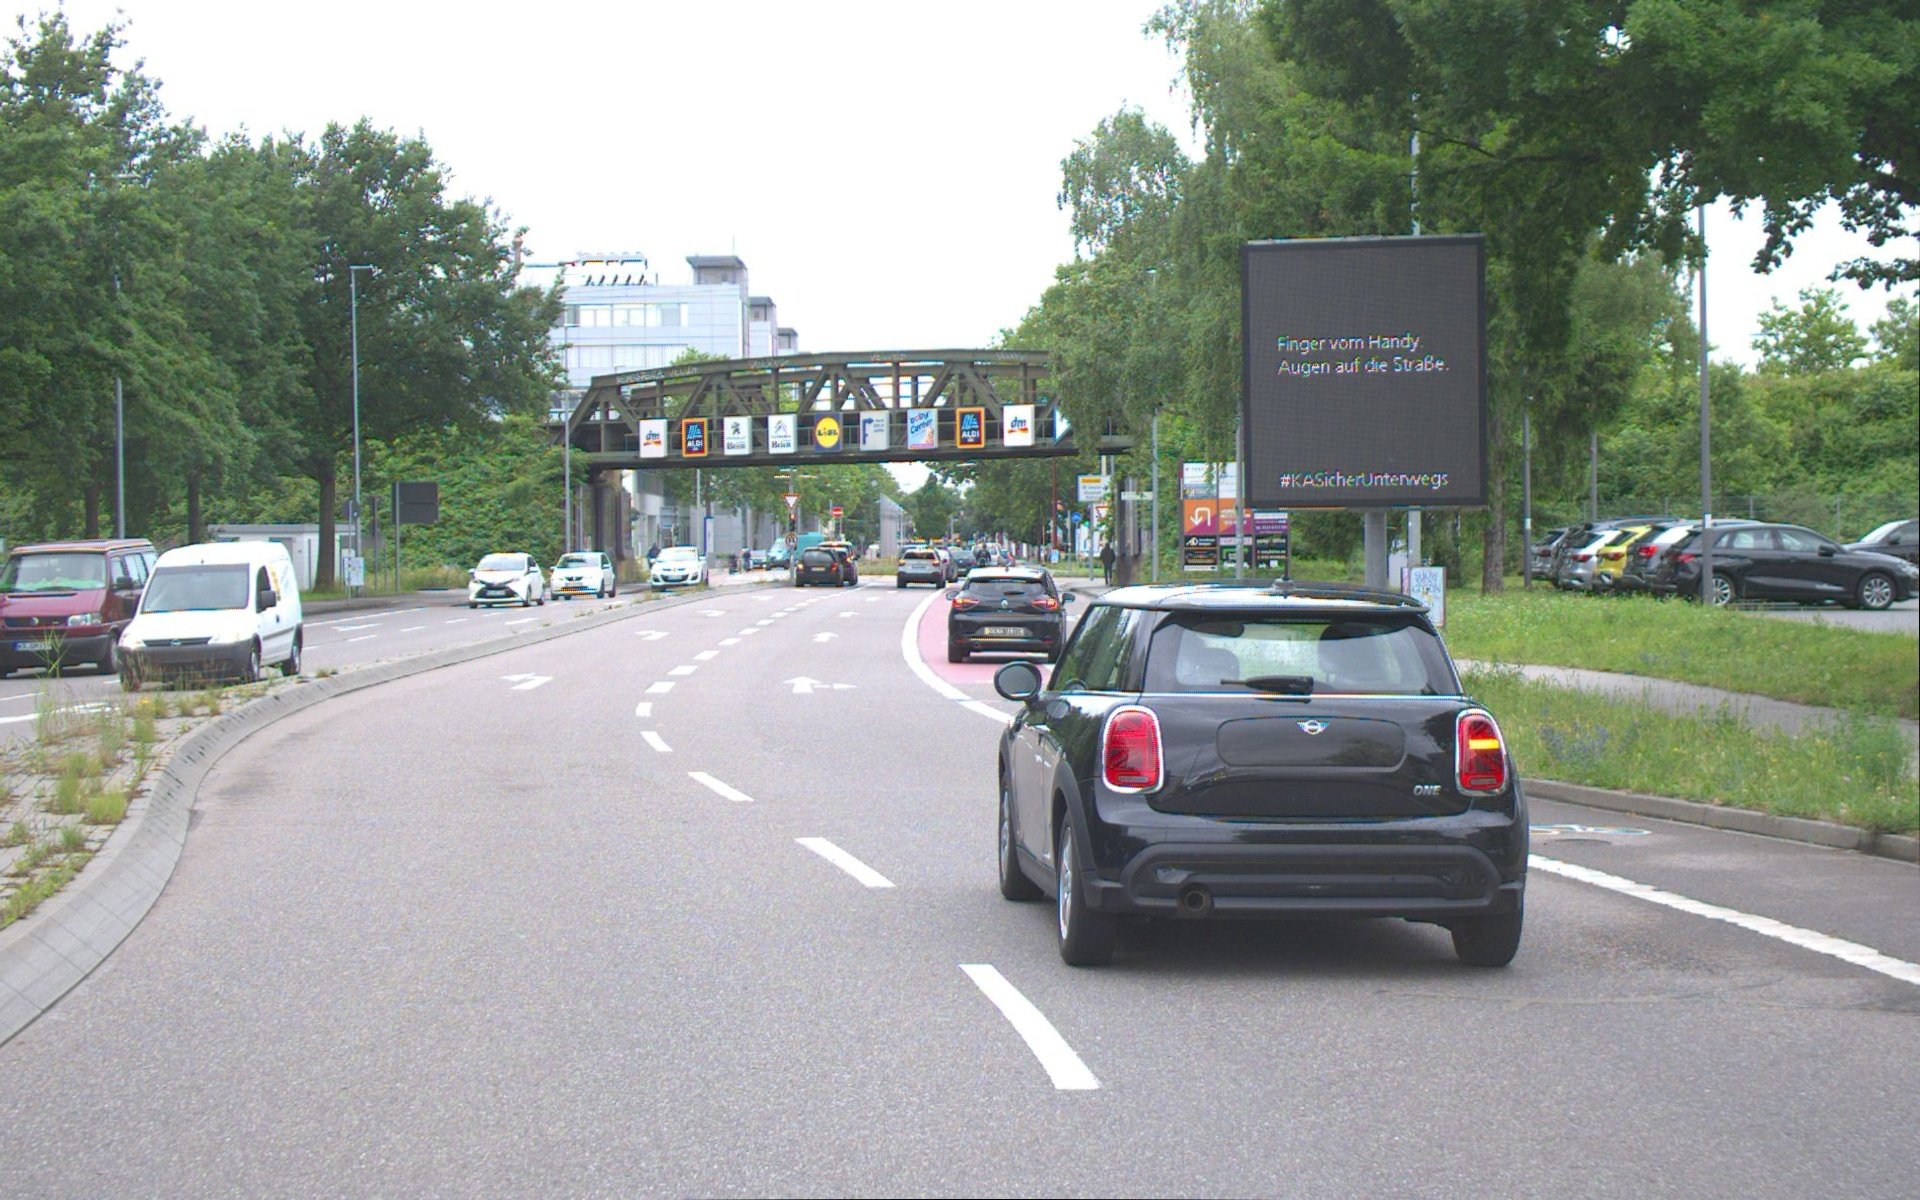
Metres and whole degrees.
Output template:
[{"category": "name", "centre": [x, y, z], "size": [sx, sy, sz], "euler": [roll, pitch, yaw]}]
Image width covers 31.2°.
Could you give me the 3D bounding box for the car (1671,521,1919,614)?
[{"category": "car", "centre": [13.936, -0.556, 57.131], "size": [3.988, 1.430, 1.730], "euler": [1, 3, 7]}]

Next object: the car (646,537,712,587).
[{"category": "car", "centre": [-10.339, -1.405, 126.781], "size": [1.940, 1.670, 3.782], "euler": [1, 3, 3]}]

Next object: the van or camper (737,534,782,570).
[{"category": "van or camper", "centre": [-14.408, -3.489, 246.976], "size": [1.994, 2.477, 7.026], "euler": [-1, 1, 7]}]

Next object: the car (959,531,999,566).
[{"category": "car", "centre": [0.978, -2.684, 177.237], "size": [1.884, 1.656, 3.782], "euler": [1, 3, 3]}]

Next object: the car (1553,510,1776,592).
[{"category": "car", "centre": [13.289, -0.937, 65.017], "size": [3.988, 1.430, 1.730], "euler": [1, 3, 7]}]

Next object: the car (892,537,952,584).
[{"category": "car", "centre": [-1.470, -1.572, 135.559], "size": [2.135, 1.656, 3.782], "euler": [1, 3, 3]}]

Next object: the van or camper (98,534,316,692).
[{"category": "van or camper", "centre": [-9.313, 0.112, 42.851], "size": [1.755, 1.741, 4.407], "euler": [-4, 2, -1]}]

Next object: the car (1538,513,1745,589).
[{"category": "car", "centre": [13.850, -1.006, 70.052], "size": [3.988, 1.430, 1.730], "euler": [1, 3, 7]}]

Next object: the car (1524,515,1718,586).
[{"category": "car", "centre": [14.234, -1.082, 74.211], "size": [3.988, 1.430, 1.730], "euler": [1, 3, 7]}]

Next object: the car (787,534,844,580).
[{"category": "car", "centre": [-5.634, -1.694, 134.428], "size": [1.884, 1.656, 3.782], "euler": [1, 3, 3]}]

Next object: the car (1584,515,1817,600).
[{"category": "car", "centre": [13.458, -0.780, 62.662], "size": [3.988, 1.430, 1.730], "euler": [1, 3, 7]}]

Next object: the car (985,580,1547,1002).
[{"category": "car", "centre": [1.082, 0.657, 13.805], "size": [1.786, 1.411, 3.643], "euler": [2, 0, -2]}]

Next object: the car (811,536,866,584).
[{"category": "car", "centre": [-4.975, -1.668, 141.233], "size": [1.950, 1.809, 4.000], "euler": [1, 3, 3]}]

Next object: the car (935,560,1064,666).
[{"category": "car", "centre": [0.638, 0.169, 52.188], "size": [1.757, 1.429, 4.000], "euler": [-1, 2, 3]}]

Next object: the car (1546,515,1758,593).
[{"category": "car", "centre": [13.689, -0.925, 68.186], "size": [3.988, 1.430, 1.730], "euler": [1, 3, 7]}]

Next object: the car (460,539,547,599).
[{"category": "car", "centre": [-12.262, -0.851, 92.564], "size": [1.754, 1.441, 3.339], "euler": [1, 3, 3]}]

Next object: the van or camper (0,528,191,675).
[{"category": "van or camper", "centre": [-12.795, -0.030, 50.486], "size": [1.875, 1.979, 4.890], "euler": [-1, 2, 0]}]

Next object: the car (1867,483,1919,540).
[{"category": "car", "centre": [25.922, -2.314, 89.972], "size": [3.988, 1.430, 1.730], "euler": [1, 3, 7]}]

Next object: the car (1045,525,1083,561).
[{"category": "car", "centre": [5.661, -3.105, 186.628], "size": [1.950, 1.809, 4.000], "euler": [1, 3, 3]}]

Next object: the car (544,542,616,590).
[{"category": "car", "centre": [-11.896, -1.081, 107.790], "size": [1.719, 1.366, 3.440], "euler": [1, 3, 3]}]

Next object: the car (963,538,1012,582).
[{"category": "car", "centre": [1.174, -1.684, 143.193], "size": [1.884, 1.656, 3.782], "euler": [1, 3, 3]}]

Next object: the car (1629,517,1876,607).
[{"category": "car", "centre": [13.706, -0.670, 59.638], "size": [3.988, 1.430, 1.730], "euler": [1, 3, 7]}]

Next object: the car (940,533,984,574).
[{"category": "car", "centre": [0.105, -2.251, 166.275], "size": [1.950, 1.809, 4.000], "euler": [1, 3, 3]}]

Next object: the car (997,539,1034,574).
[{"category": "car", "centre": [3.080, -2.420, 190.901], "size": [1.950, 1.809, 4.000], "euler": [1, 3, 3]}]
